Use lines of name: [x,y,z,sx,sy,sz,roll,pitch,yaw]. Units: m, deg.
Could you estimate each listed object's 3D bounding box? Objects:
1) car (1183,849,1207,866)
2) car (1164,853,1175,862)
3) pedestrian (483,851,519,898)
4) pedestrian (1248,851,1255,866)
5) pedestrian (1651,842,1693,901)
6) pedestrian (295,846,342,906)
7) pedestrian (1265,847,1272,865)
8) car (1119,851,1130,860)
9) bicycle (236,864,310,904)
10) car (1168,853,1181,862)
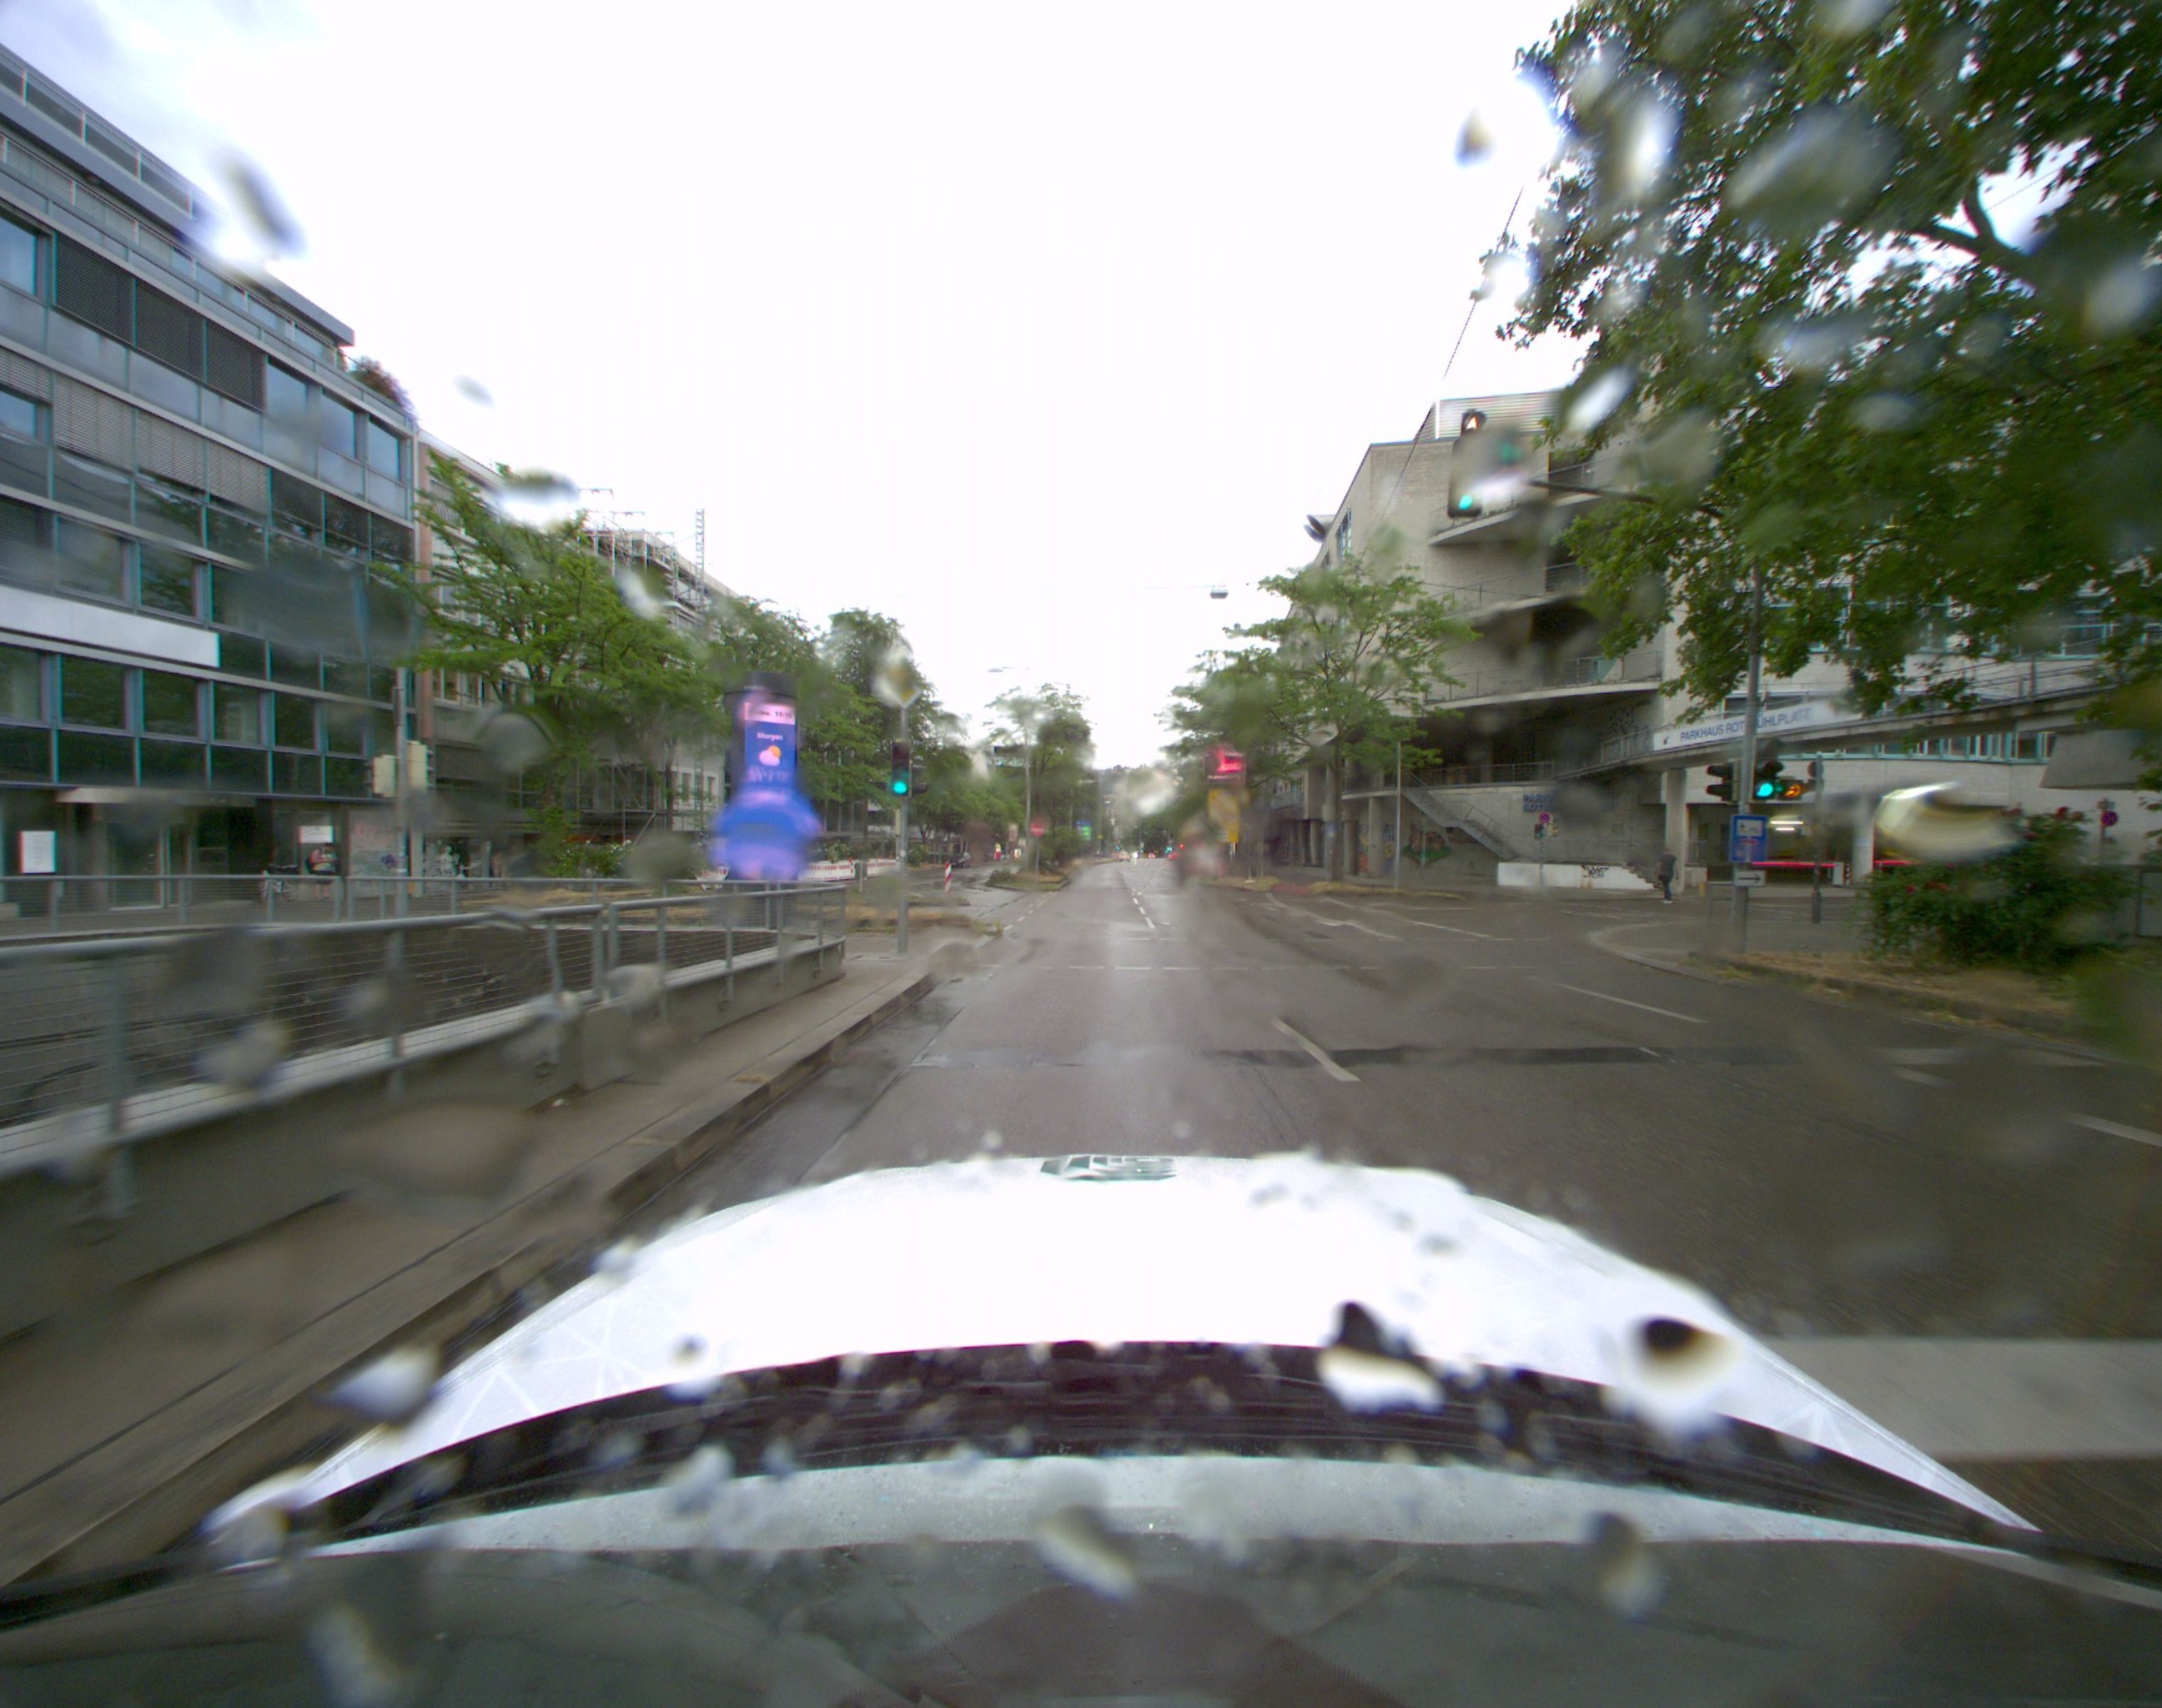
car: [11.571,0.343,82.466,2.324,1.691,4.010,0,0,9]
car: [17.956,0.710,165.755,1.986,1.736,4.001,0,-1,2]
pedestrian: [-21.717,0.760,30.511,0.691,1.741,0.876,1,-1,-1]
pedestrian: [21.970,0.533,104.903,0.772,1.920,0.702,0,-1,1]
pedestrian: [19.237,0.565,26.527,0.843,1.910,0.758,0,0,1]
pedestrian: [-22.815,0.656,24.382,0.694,1.741,0.694,1,-1,-4]
pedestrian: [20.719,0.233,90.038,0.770,1.920,0.705,-1,-1,12]
car: [7.651,0.283,141.925,1.820,1.640,4.304,1,-1,4]
bicycle: [-22.962,0.825,23.181,0.444,1.085,1.567,0,0,6]
car: [17.719,0.639,154.650,1.986,1.724,4.000,0,-1,1]
